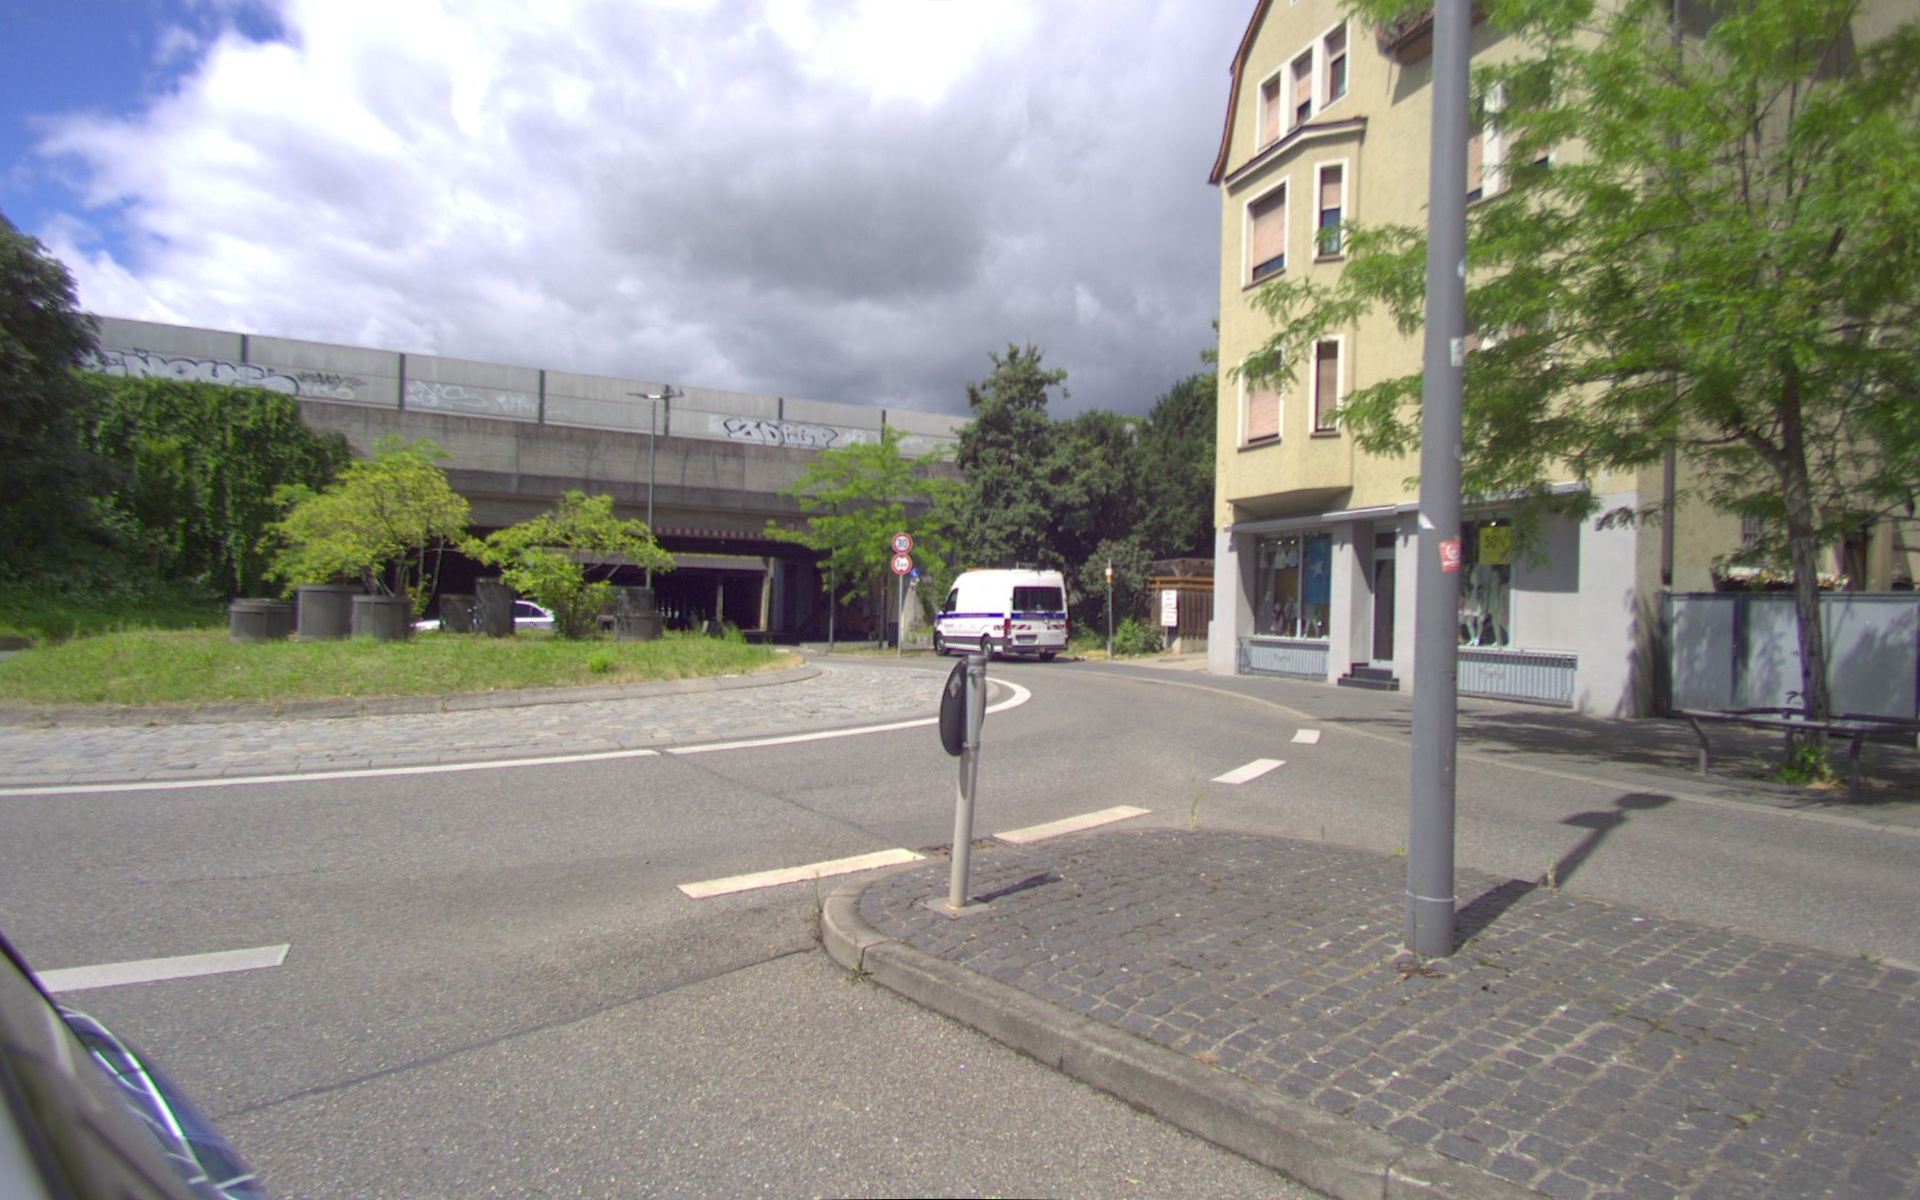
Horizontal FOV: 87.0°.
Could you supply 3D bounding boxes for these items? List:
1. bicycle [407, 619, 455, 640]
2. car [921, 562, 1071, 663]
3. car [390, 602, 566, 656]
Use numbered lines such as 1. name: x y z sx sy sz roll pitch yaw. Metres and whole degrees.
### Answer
1. bicycle: -24.477 1.355 46.828 1.917 0.911 0.508 2 -1 -23
2. car: 0.874 0.359 29.437 1.940 2.626 5.950 0 -1 -24
3. car: -12.681 0.760 26.849 3.933 1.364 1.720 0 -1 -13
